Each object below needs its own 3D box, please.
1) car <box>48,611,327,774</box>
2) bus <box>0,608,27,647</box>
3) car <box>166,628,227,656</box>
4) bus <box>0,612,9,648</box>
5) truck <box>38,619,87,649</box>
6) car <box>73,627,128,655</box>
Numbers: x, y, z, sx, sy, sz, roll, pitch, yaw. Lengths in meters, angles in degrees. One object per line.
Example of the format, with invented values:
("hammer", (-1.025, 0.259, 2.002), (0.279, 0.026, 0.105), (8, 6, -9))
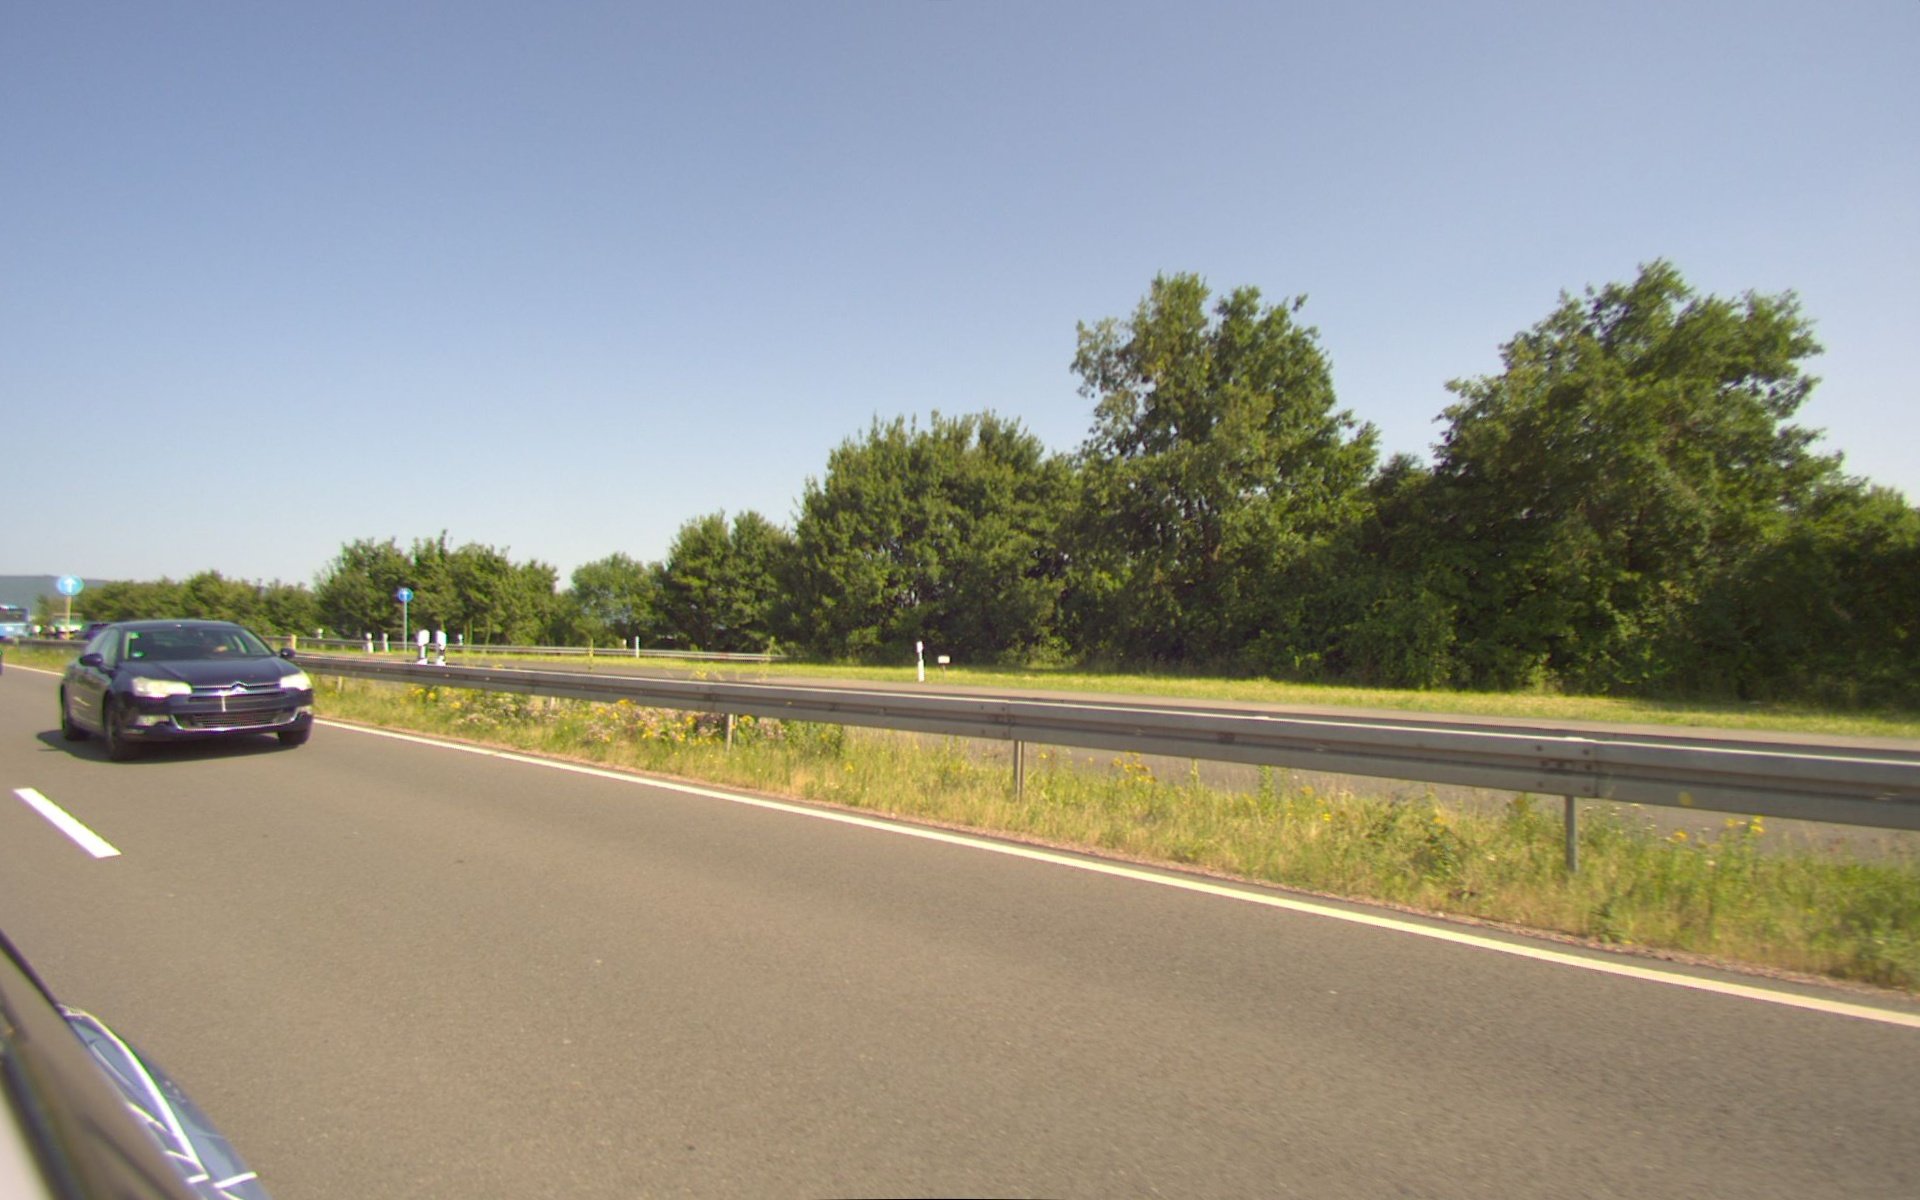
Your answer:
("car", (-9.216, 0.962, 11.935), (4.372, 1.545, 1.765), (-2, -1, 41))
("bus", (-80.965, 2.351, 84.911), (8.384, 3.134, 2.698), (-2, -2, 39))
("car", (-49.295, 2.658, 65.333), (4.742, 1.713, 1.818), (-1, -1, 35))
("bus", (-87.998, 2.671, 90.647), (9.824, 3.134, 2.698), (-2, -2, 39))
("truck", (-77.638, 2.935, 87.551), (6.611, 2.472, 2.105), (-2, -4, 40))
("car", (-54.094, 2.585, 63.675), (4.270, 1.617, 1.973), (-3, -1, 40))
